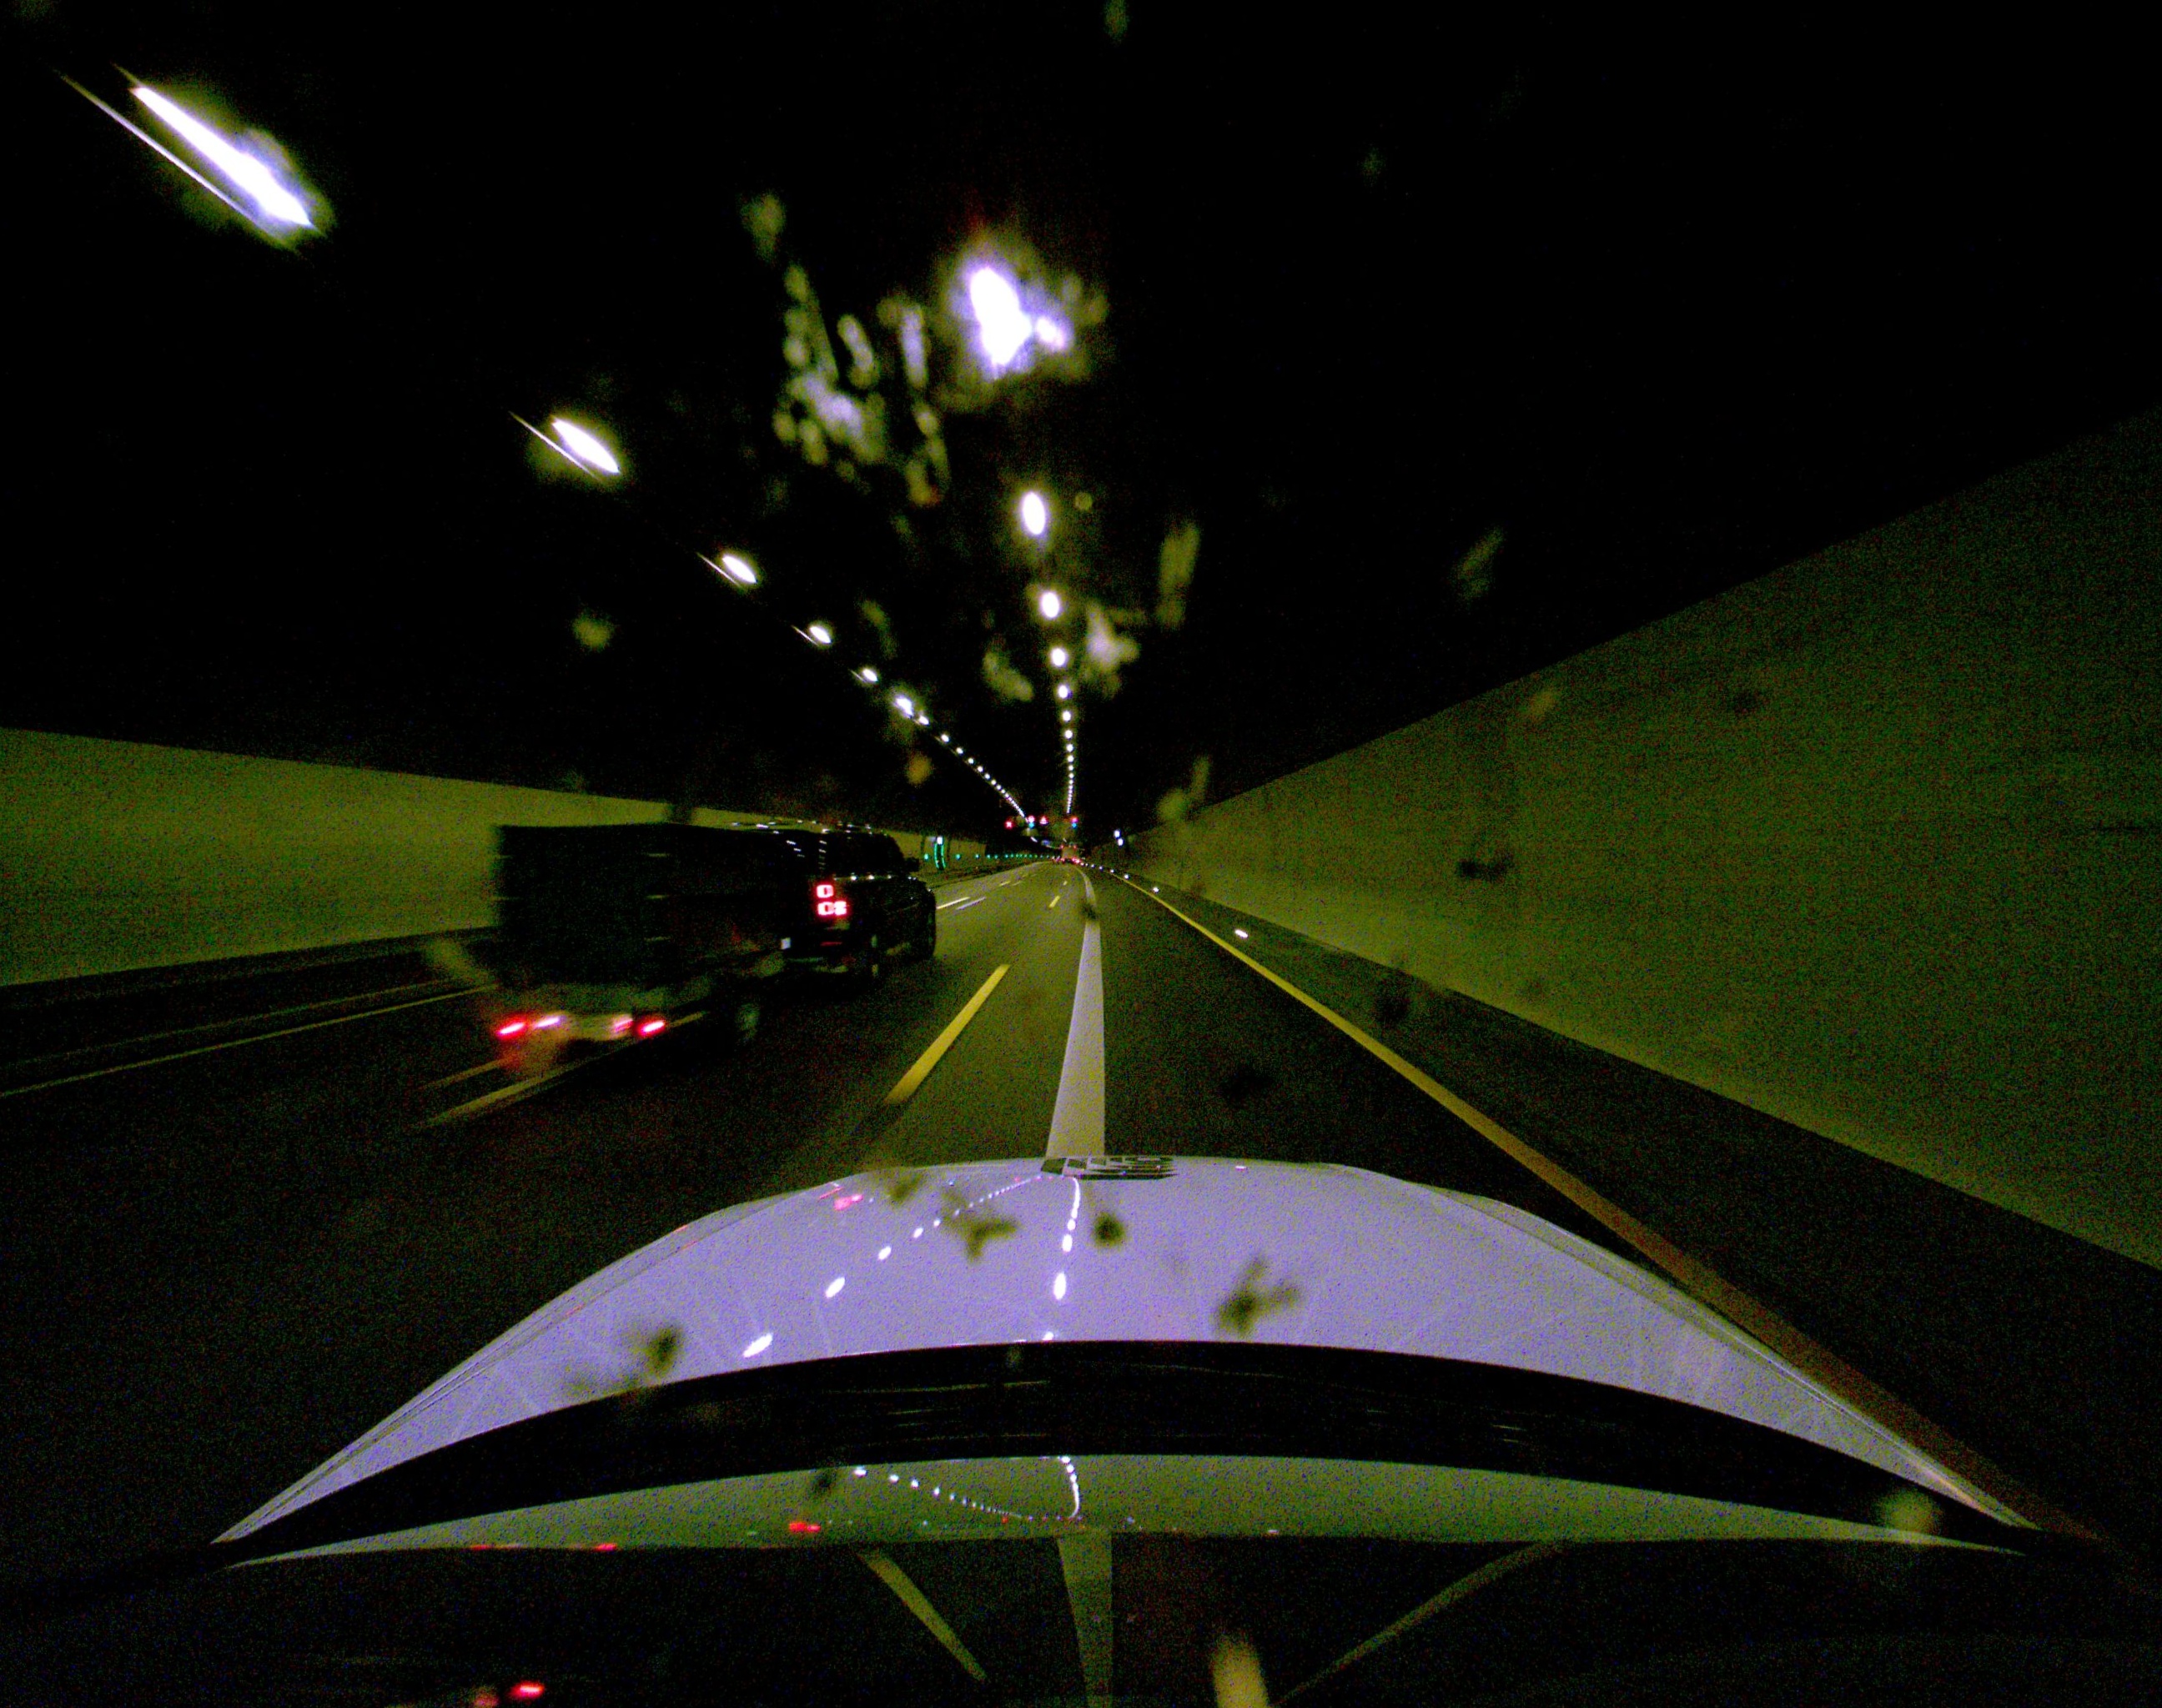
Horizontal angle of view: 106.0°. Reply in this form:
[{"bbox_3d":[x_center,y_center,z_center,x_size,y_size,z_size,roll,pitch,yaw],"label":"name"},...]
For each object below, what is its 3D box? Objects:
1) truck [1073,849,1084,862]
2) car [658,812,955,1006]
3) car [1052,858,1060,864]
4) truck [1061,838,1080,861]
[{"bbox_3d":[-0.795,0.456,260.106,3.465,4.316,10.944,0,0,-2],"label":"truck"},{"bbox_3d":[-3.179,0.549,10.919,1.986,1.895,5.454,2,0,1],"label":"car"},{"bbox_3d":[-6.640,1.759,212.927,1.989,1.582,3.996,1,0,-2],"label":"car"},{"bbox_3d":[-2.102,-0.963,161.309,3.464,4.316,10.945,2,0,-1],"label":"truck"}]
